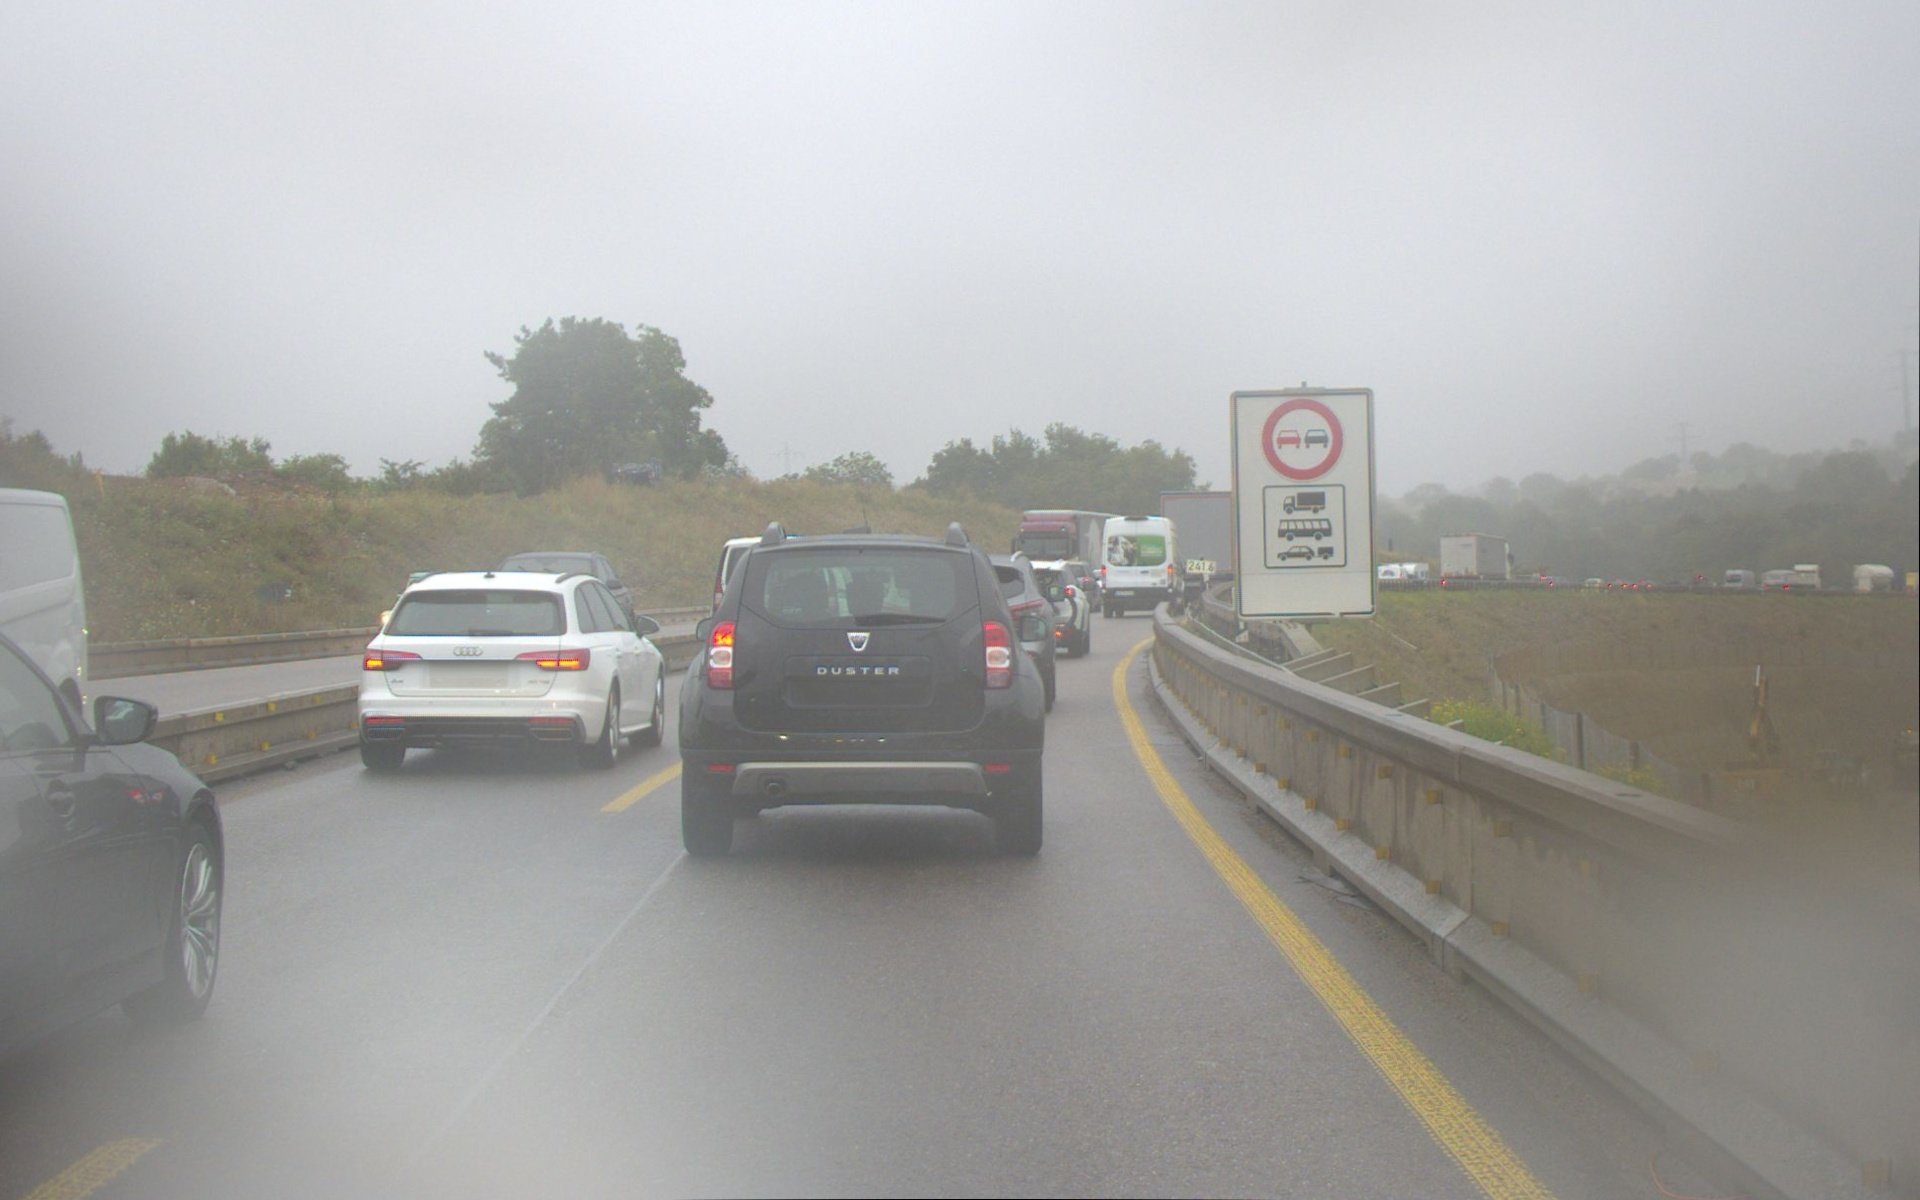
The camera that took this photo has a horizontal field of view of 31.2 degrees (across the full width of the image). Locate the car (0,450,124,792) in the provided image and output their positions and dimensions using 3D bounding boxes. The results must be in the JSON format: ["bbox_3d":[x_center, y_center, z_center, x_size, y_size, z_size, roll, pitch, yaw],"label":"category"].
[{"bbox_3d":[-6.593,0.105,20.642,1.993,1.993,4.970,0,1,-1],"label":"car"}]

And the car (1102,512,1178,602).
[{"bbox_3d":[5.012,-1.169,95.425,1.827,2.429,4.157,0,0,7],"label":"car"}]

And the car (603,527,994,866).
[{"bbox_3d":[-0.740,0.453,18.184,1.826,1.585,4.000,0,0,1],"label":"car"}]

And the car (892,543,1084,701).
[{"bbox_3d":[0.284,0.205,34.765,1.826,1.494,4.000,0,0,1],"label":"car"}]

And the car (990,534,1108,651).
[{"bbox_3d":[1.461,-0.117,55.301,1.826,1.809,4.000,0,0,2],"label":"car"}]

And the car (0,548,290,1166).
[{"bbox_3d":[-3.257,0.657,9.273,1.735,1.457,5.630,0,2,1],"label":"car"}]

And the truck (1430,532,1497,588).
[{"bbox_3d":[34.588,-2.771,235.990,3.475,3.702,8.411,-1,1,16],"label":"truck"}]

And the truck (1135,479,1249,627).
[{"bbox_3d":[8.395,-1.626,123.329,3.544,5.060,10.439,0,0,7],"label":"truck"}]

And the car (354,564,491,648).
[{"bbox_3d":[-9.098,0.078,58.489,1.580,1.378,4.000,0,1,2],"label":"car"}]

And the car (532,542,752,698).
[{"bbox_3d":[-3.173,0.190,35.017,1.826,1.494,4.000,0,0,1],"label":"car"}]

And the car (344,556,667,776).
[{"bbox_3d":[-3.271,0.449,25.466,1.826,1.494,4.000,0,0,1],"label":"car"}]

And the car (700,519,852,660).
[{"bbox_3d":[-2.434,-0.133,46.258,1.826,1.809,4.000,0,0,0],"label":"car"}]
